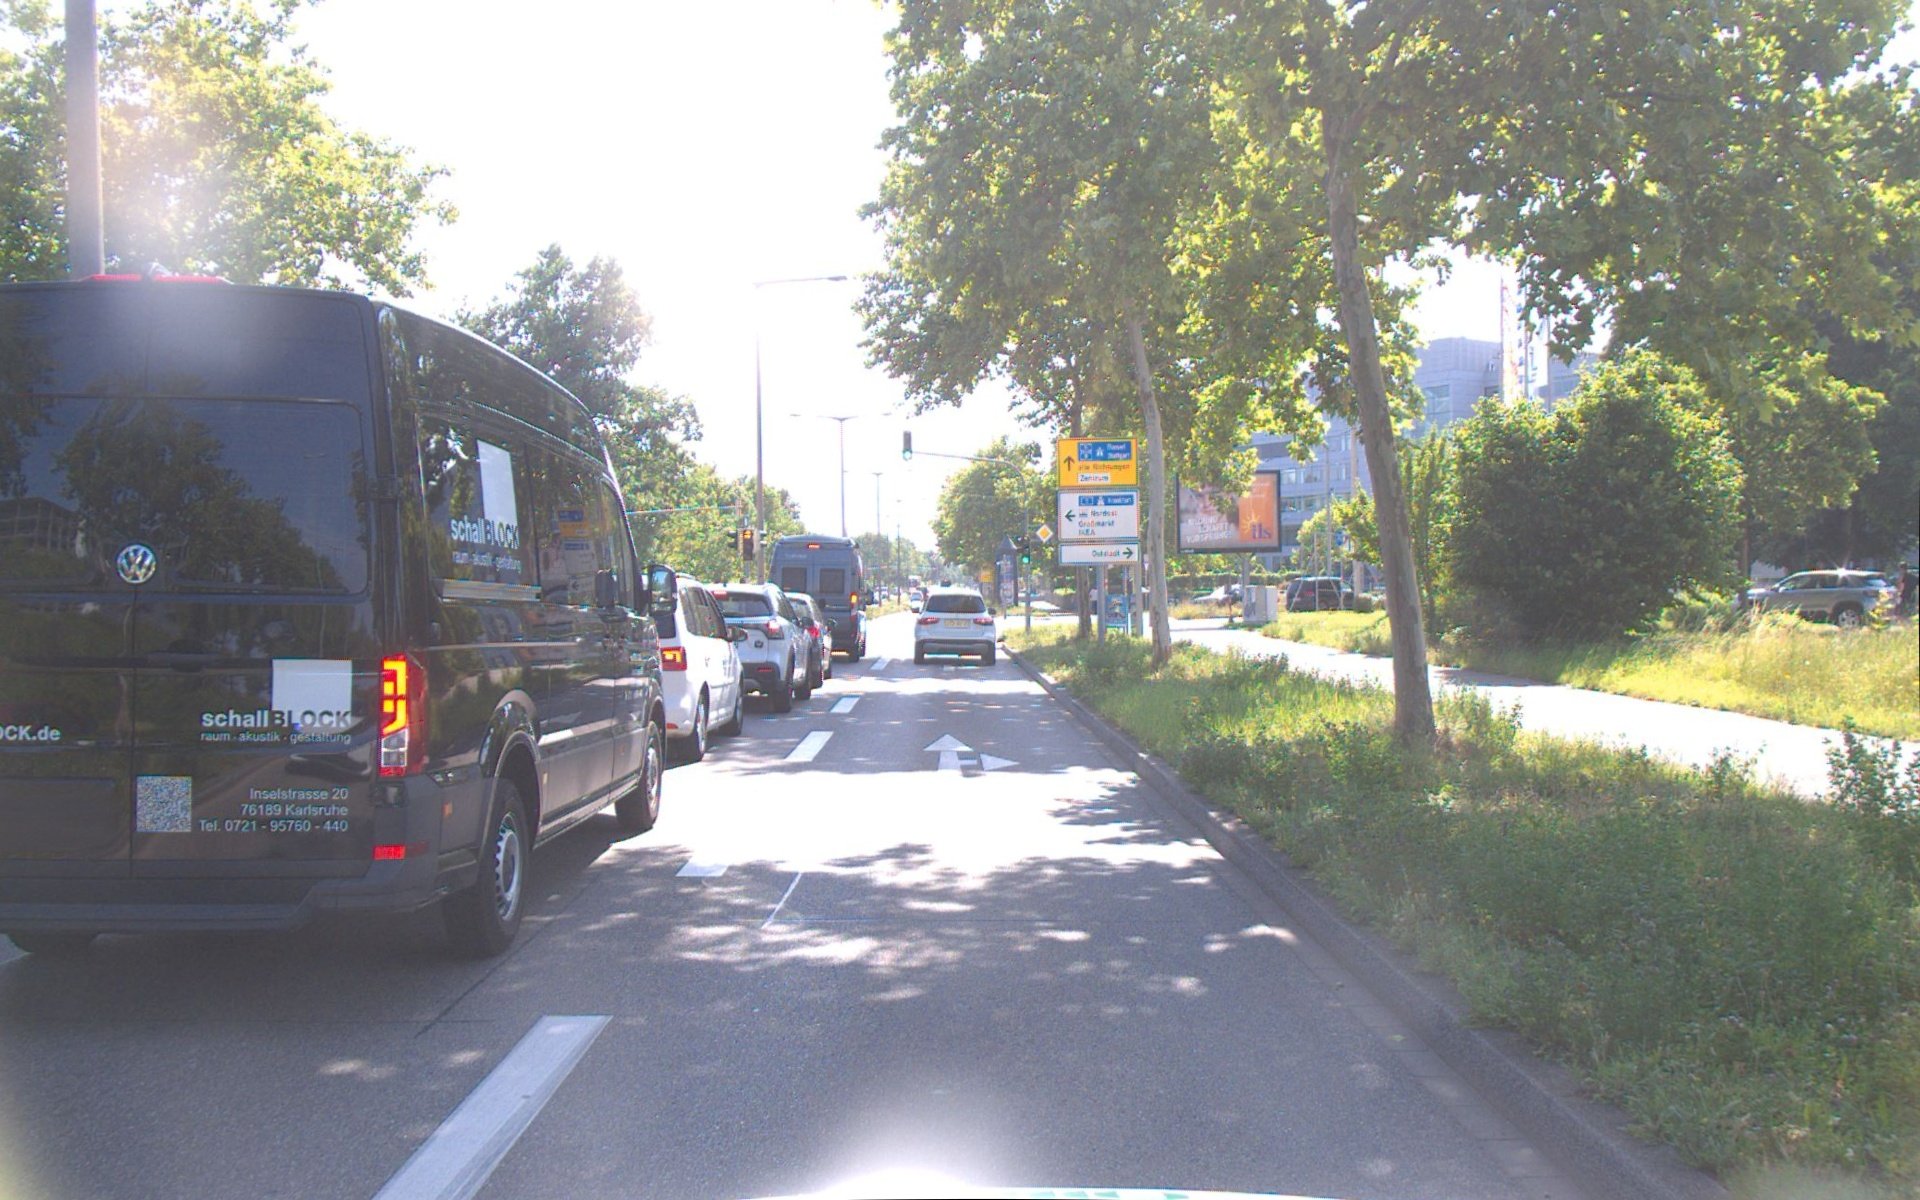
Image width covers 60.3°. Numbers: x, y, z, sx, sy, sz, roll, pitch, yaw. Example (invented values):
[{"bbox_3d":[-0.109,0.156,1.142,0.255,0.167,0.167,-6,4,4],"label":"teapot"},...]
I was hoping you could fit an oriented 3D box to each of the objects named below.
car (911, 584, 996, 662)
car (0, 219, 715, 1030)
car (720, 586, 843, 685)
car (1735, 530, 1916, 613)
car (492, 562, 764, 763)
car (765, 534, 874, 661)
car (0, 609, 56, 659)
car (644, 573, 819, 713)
[{"bbox_3d":[-0.117,0.477,37.419,1.815,1.635,4.000,1,1,1],"label":"car"},{"bbox_3d":[-2.709,0.089,8.515,1.974,2.653,6.168,0,0,0],"label":"car"},{"bbox_3d":[-2.932,0.551,27.826,1.657,1.531,3.885,1,0,-1],"label":"car"},{"bbox_3d":[22.395,-0.708,42.862,1.985,2.049,3.735,-1,0,-44],"label":"car"},{"bbox_3d":[-3.033,0.528,16.007,1.735,1.676,4.352,0,0,0],"label":"car"},{"bbox_3d":[-3.140,-0.049,37.896,2.039,2.703,4.874,1,0,0],"label":"car"},{"bbox_3d":[-29.195,1.021,48.828,4.282,1.451,1.468,-1,0,-35],"label":"car"},{"bbox_3d":[-2.917,0.527,21.920,1.735,1.676,4.084,0,0,0],"label":"car"}]
